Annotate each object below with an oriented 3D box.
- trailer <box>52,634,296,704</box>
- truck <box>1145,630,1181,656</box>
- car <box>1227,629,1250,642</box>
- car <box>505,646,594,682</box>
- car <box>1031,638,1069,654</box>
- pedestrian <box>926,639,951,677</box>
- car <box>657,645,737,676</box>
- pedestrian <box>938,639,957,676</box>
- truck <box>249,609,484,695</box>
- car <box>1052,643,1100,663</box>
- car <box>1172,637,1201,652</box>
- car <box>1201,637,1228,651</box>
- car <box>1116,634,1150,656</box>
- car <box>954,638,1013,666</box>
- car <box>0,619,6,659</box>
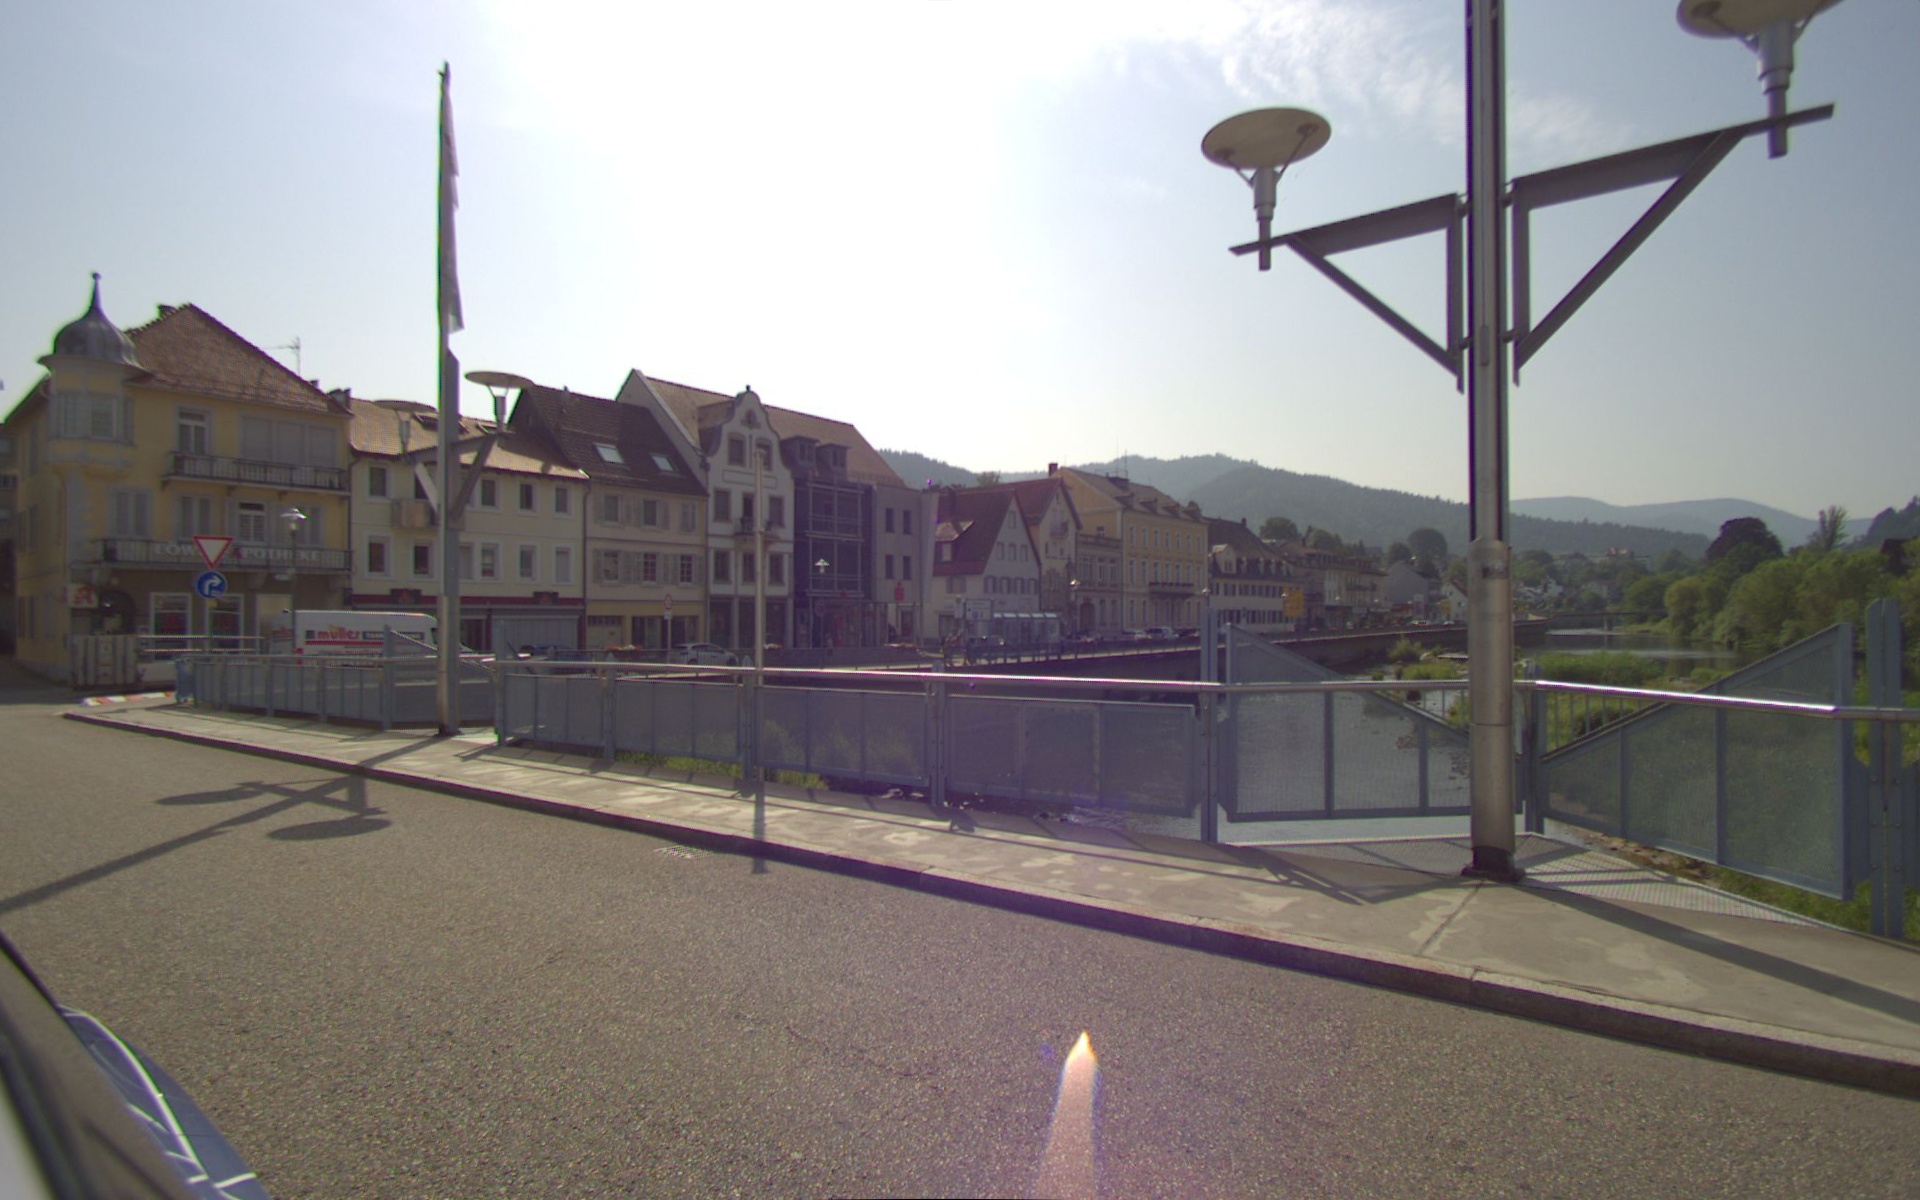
[{"bbox_3d":[-22.967,1.970,29.991,2.586,1.842,5.628,-1,-2,5],"label":"trailer"},{"bbox_3d":[19.879,4.196,99.061,1.749,2.487,4.606,-2,-2,35],"label":"truck"},{"bbox_3d":[31.425,3.998,114.203,1.515,1.459,3.237,-2,-2,35],"label":"car"},{"bbox_3d":[-18.204,2.826,44.945,1.749,1.459,3.237,-2,-2,35],"label":"car"},{"bbox_3d":[7.152,3.620,80.274,1.565,1.229,3.237,-2,-2,35],"label":"car"},{"bbox_3d":[-1.003,2.711,47.401,0.868,1.719,0.767,-1,-2,38],"label":"pedestrian"},{"bbox_3d":[-13.368,3.071,51.559,1.749,1.459,3.750,-2,-2,35],"label":"car"},{"bbox_3d":[-0.604,2.700,47.937,0.791,1.719,0.485,-1,-2,38],"label":"pedestrian"},{"bbox_3d":[-20.615,1.802,35.643,2.103,2.720,7.061,-4,-3,29],"label":"truck"},{"bbox_3d":[8.828,3.997,76.524,1.753,1.367,4.148,-3,-2,36],"label":"car"},{"bbox_3d":[23.206,4.574,103.680,1.749,1.459,3.237,-2,-2,35],"label":"car"},{"bbox_3d":[27.254,4.717,108.221,1.749,1.459,3.237,-2,-2,35],"label":"car"},{"bbox_3d":[15.937,4.096,93.067,1.749,1.950,3.535,-2,-2,35],"label":"car"},{"bbox_3d":[1.470,3.194,62.521,1.681,1.572,3.923,-2,-1,36],"label":"car"},{"bbox_3d":[-48.305,1.856,47.369,1.993,1.905,5.017,-2,-2,32],"label":"car"}]
